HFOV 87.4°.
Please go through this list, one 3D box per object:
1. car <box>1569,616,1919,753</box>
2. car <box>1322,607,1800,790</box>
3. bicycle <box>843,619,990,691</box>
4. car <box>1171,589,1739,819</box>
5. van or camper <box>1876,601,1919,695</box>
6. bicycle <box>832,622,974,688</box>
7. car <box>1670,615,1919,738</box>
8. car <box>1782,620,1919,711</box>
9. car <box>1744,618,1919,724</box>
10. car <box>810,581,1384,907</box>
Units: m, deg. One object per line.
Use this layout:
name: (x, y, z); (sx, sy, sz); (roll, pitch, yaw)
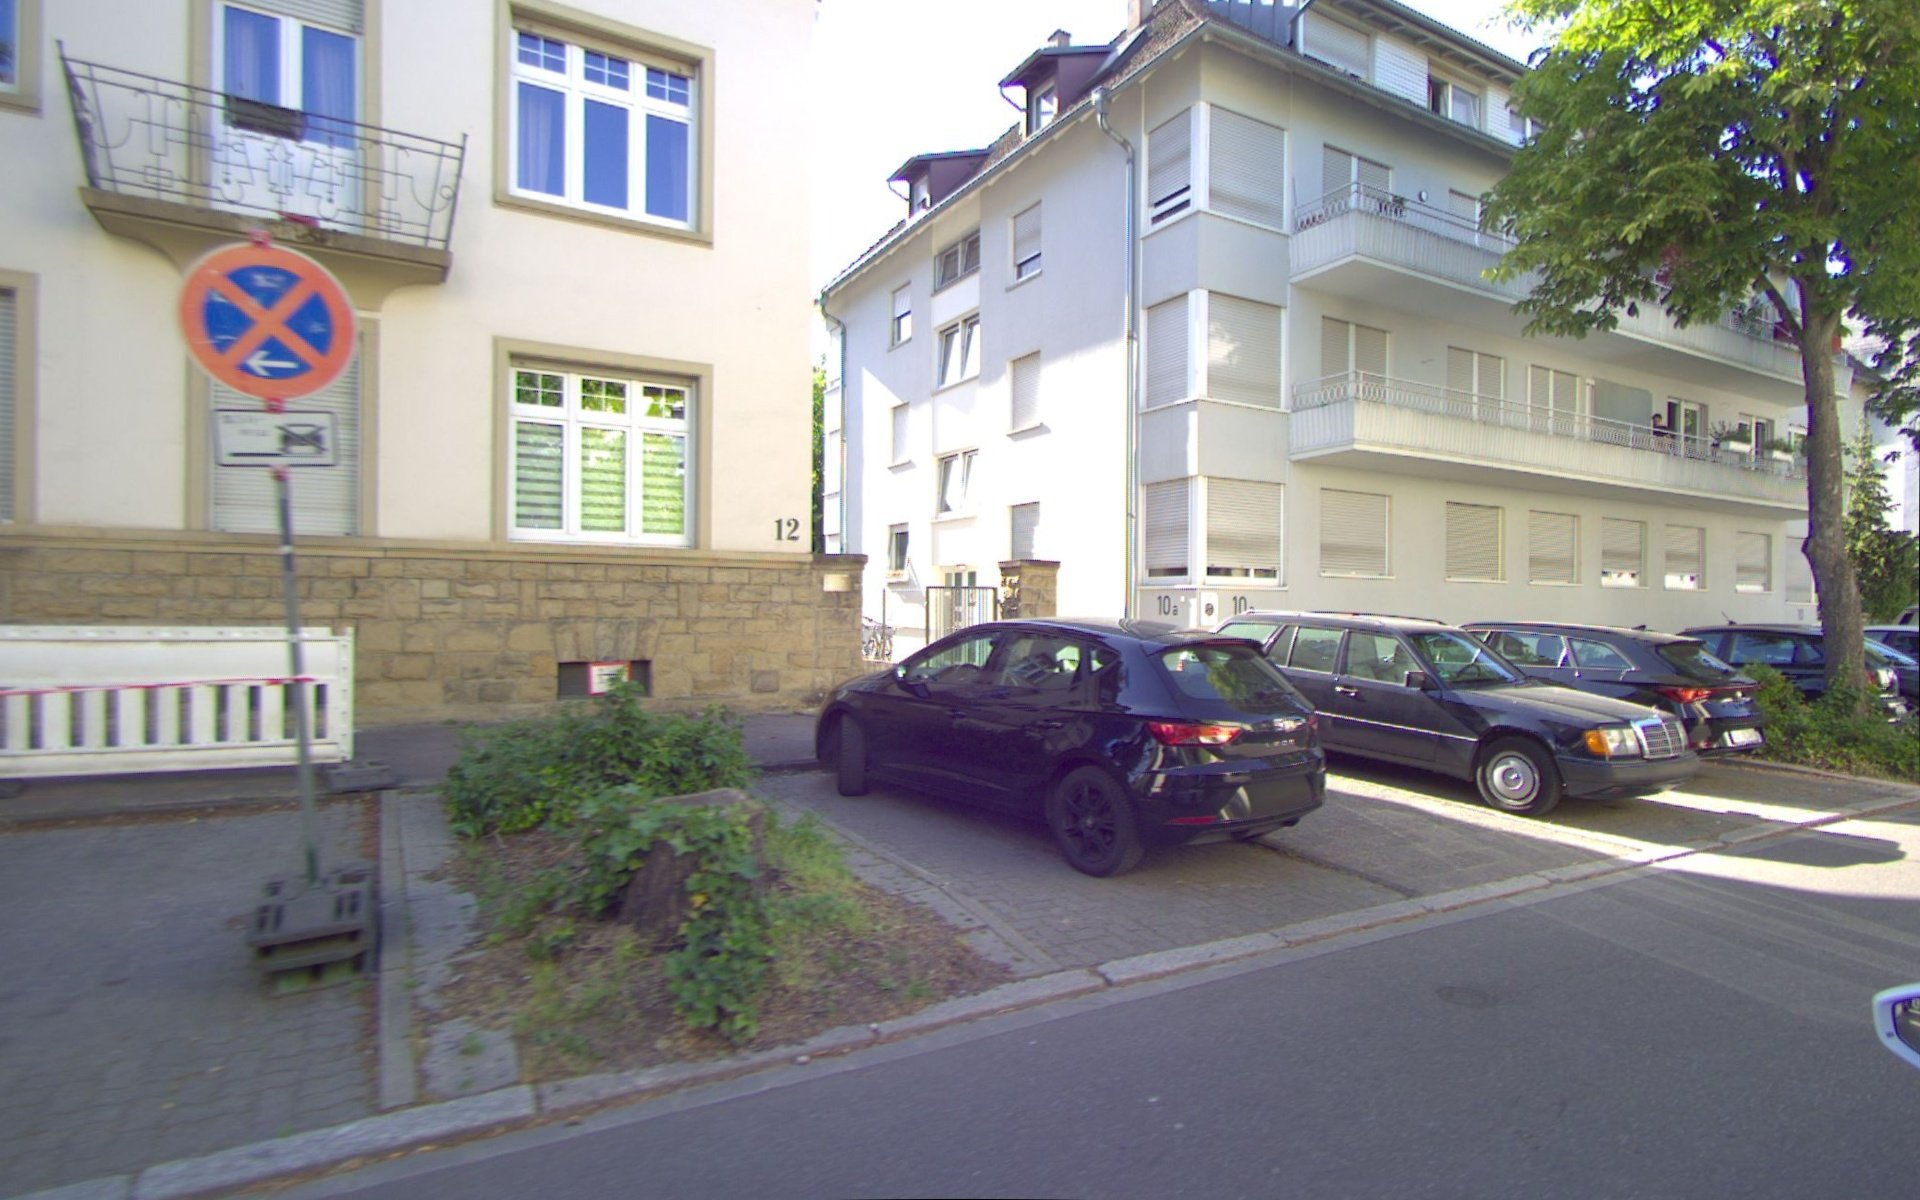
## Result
car: (10.481, 1.034, 13.564); (1.693, 1.439, 3.455); (2, 0, -35)
car: (6.257, 0.893, 10.996); (1.693, 1.460, 4.166); (2, 1, -31)
bicycle: (-0.803, 1.036, 19.411); (2.961, 1.316, 0.462); (1, -1, -31)
car: (4.305, 0.760, 9.526); (1.814, 1.628, 4.561); (1, -1, -34)
van or camper: (21.400, 1.018, 19.866); (1.941, 1.940, 4.476); (1, -1, -30)
bicycle: (-1.087, 1.070, 19.927); (2.925, 1.254, 0.486); (1, -1, -31)
car: (12.706, 1.050, 14.497); (1.689, 1.482, 3.629); (2, 1, -28)
car: (16.792, 1.150, 17.168); (1.696, 1.434, 3.900); (1, 1, -32)
car: (14.811, 1.116, 15.808); (1.776, 1.477, 3.463); (2, 1, -29)
car: (0.708, 0.730, 7.187); (1.817, 1.534, 3.839); (2, 2, -39)
